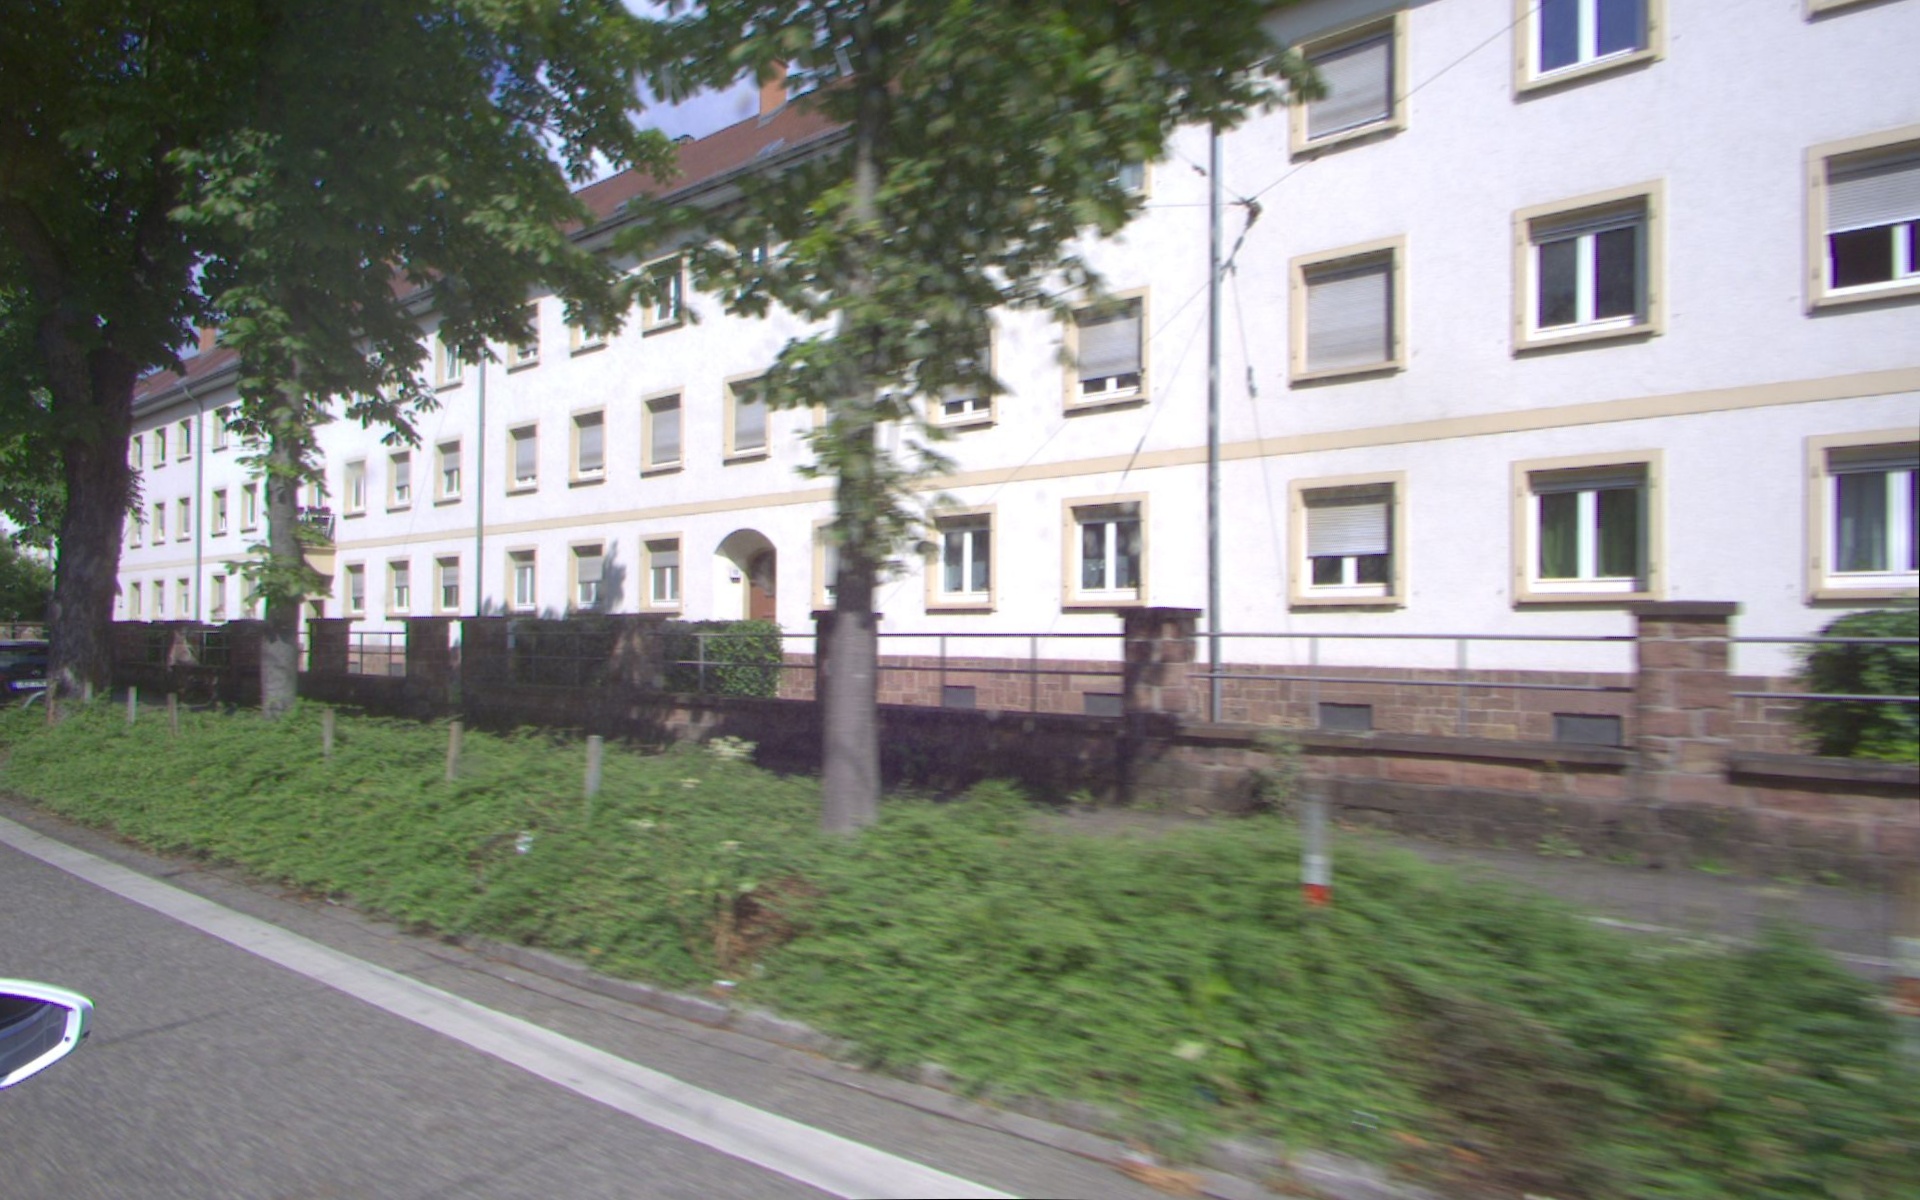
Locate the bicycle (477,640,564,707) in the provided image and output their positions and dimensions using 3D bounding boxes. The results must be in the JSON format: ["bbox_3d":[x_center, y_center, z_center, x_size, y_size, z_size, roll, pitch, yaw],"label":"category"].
[{"bbox_3d":[-7.996,1.310,18.193,1.777,1.149,0.623,-1,-2,36],"label":"bicycle"}]

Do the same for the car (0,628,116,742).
[{"bbox_3d":[-14.516,1.196,15.116,4.230,1.540,1.657,-1,-2,35],"label":"car"}]
